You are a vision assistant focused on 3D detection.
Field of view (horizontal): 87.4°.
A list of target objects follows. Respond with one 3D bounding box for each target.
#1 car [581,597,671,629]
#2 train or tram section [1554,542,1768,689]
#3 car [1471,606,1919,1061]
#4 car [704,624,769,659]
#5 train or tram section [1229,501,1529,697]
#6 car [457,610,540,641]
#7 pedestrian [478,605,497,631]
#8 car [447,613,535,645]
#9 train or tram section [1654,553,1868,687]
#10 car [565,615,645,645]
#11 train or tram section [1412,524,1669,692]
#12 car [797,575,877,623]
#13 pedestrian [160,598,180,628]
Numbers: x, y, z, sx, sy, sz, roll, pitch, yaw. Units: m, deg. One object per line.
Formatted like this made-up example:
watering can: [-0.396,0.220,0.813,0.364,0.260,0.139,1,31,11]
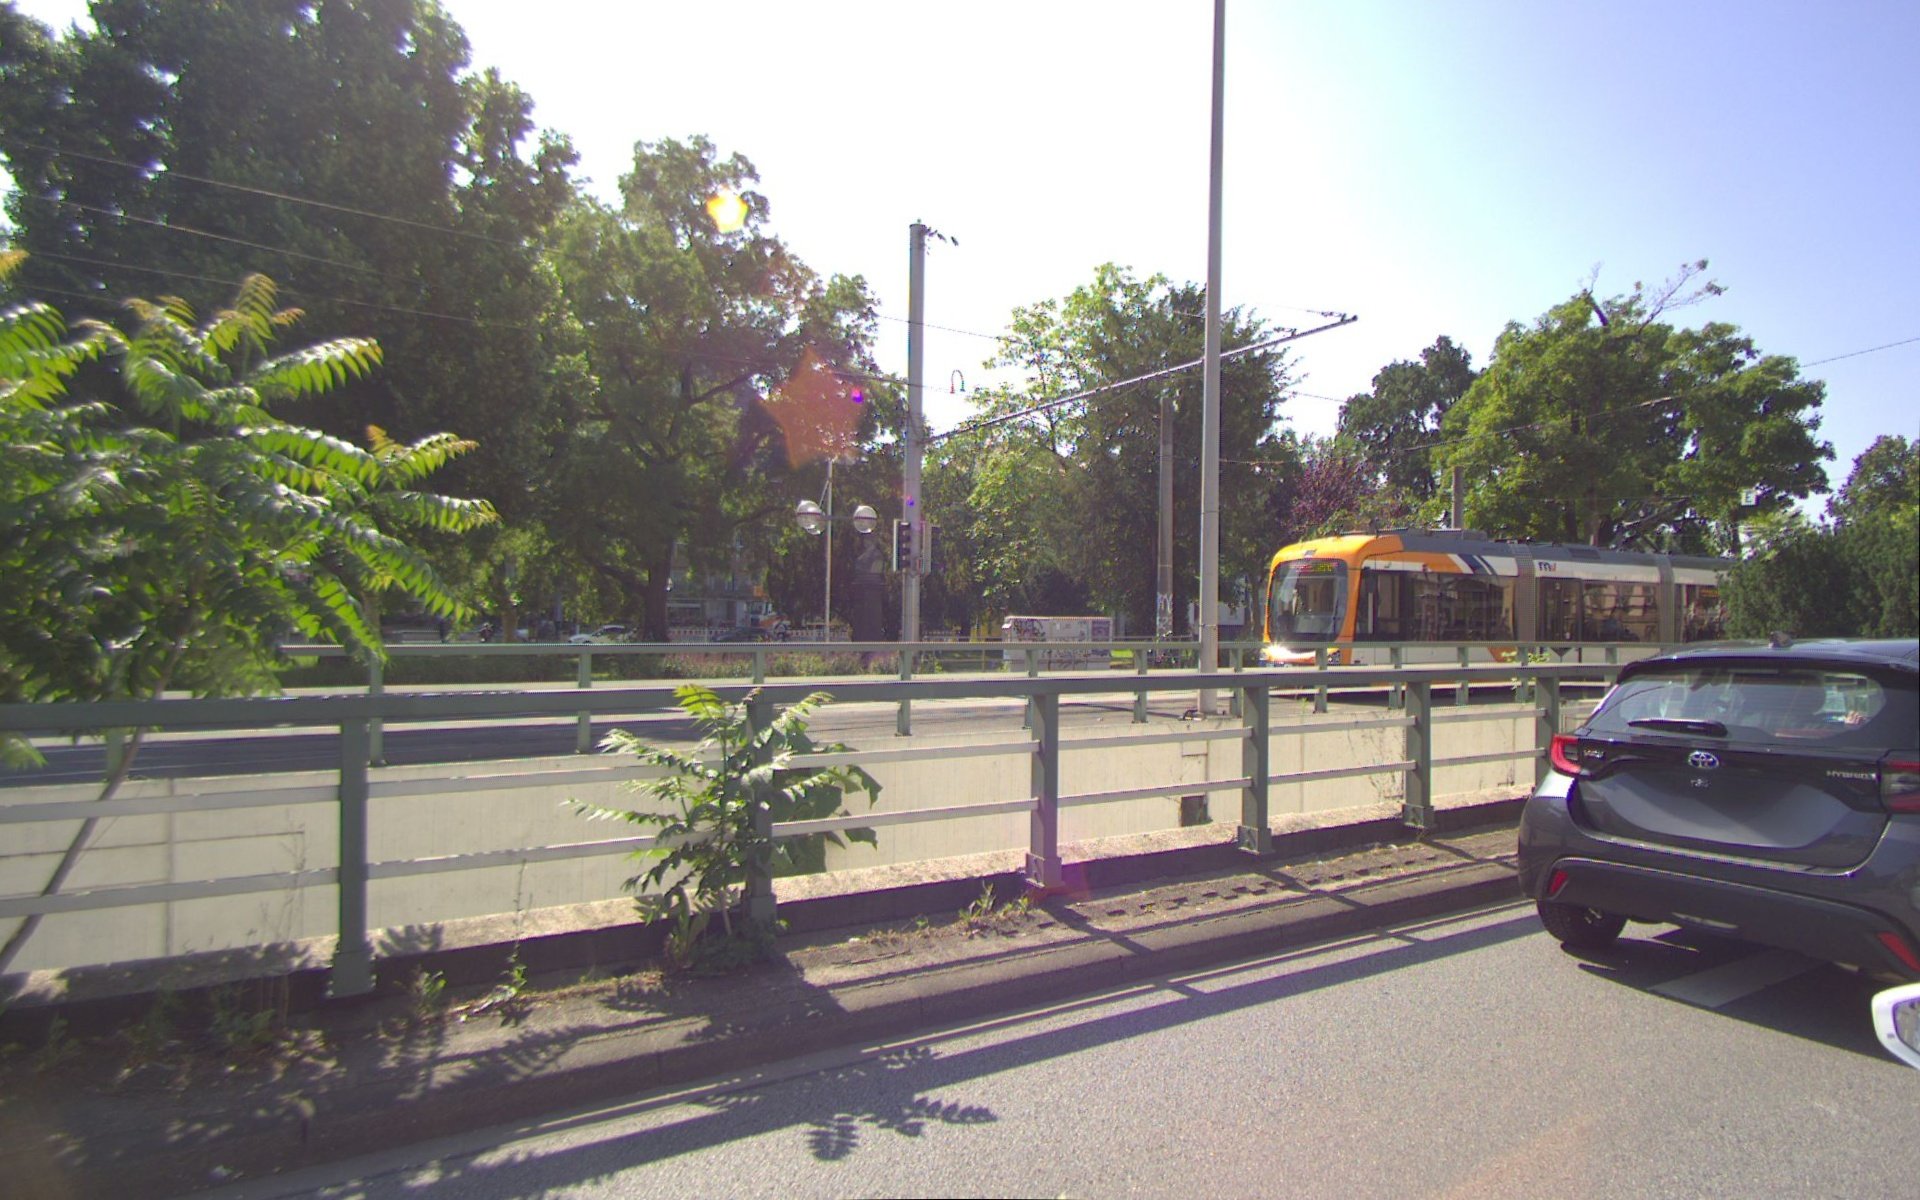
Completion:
car: [-19.931,0.779,59.981,4.797,1.685,1.743,2,2,-36]
train or tram section: [19.005,0.409,27.211,5.294,3.629,2.600,2,2,-30]
car: [4.505,0.838,4.924,3.955,1.494,1.768,2,-1,-32]
car: [-14.416,2.659,64.808,3.601,2.040,1.984,2,2,-30]
train or tram section: [8.909,0.018,21.249,6.032,3.629,2.600,2,2,-30]
car: [-25.781,1.433,56.173,3.961,1.528,1.743,2,2,-36]
pedestrian: [-23.390,0.885,49.750,0.655,1.280,0.743,1,-2,-42]
car: [-25.003,1.534,53.590,3.961,1.528,1.743,2,2,-36]
train or tram section: [24.217,0.610,30.296,6.818,3.629,2.600,2,2,-30]
car: [-20.163,1.709,57.078,3.961,1.528,1.743,2,2,-36]
train or tram section: [14.103,0.219,24.330,6.032,3.629,2.600,2,2,-30]
car: [-9.097,-0.062,74.528,5.357,3.360,2.116,2,2,-31]
pedestrian: [-33.294,0.555,42.332,0.569,1.280,0.526,-1,-2,39]
